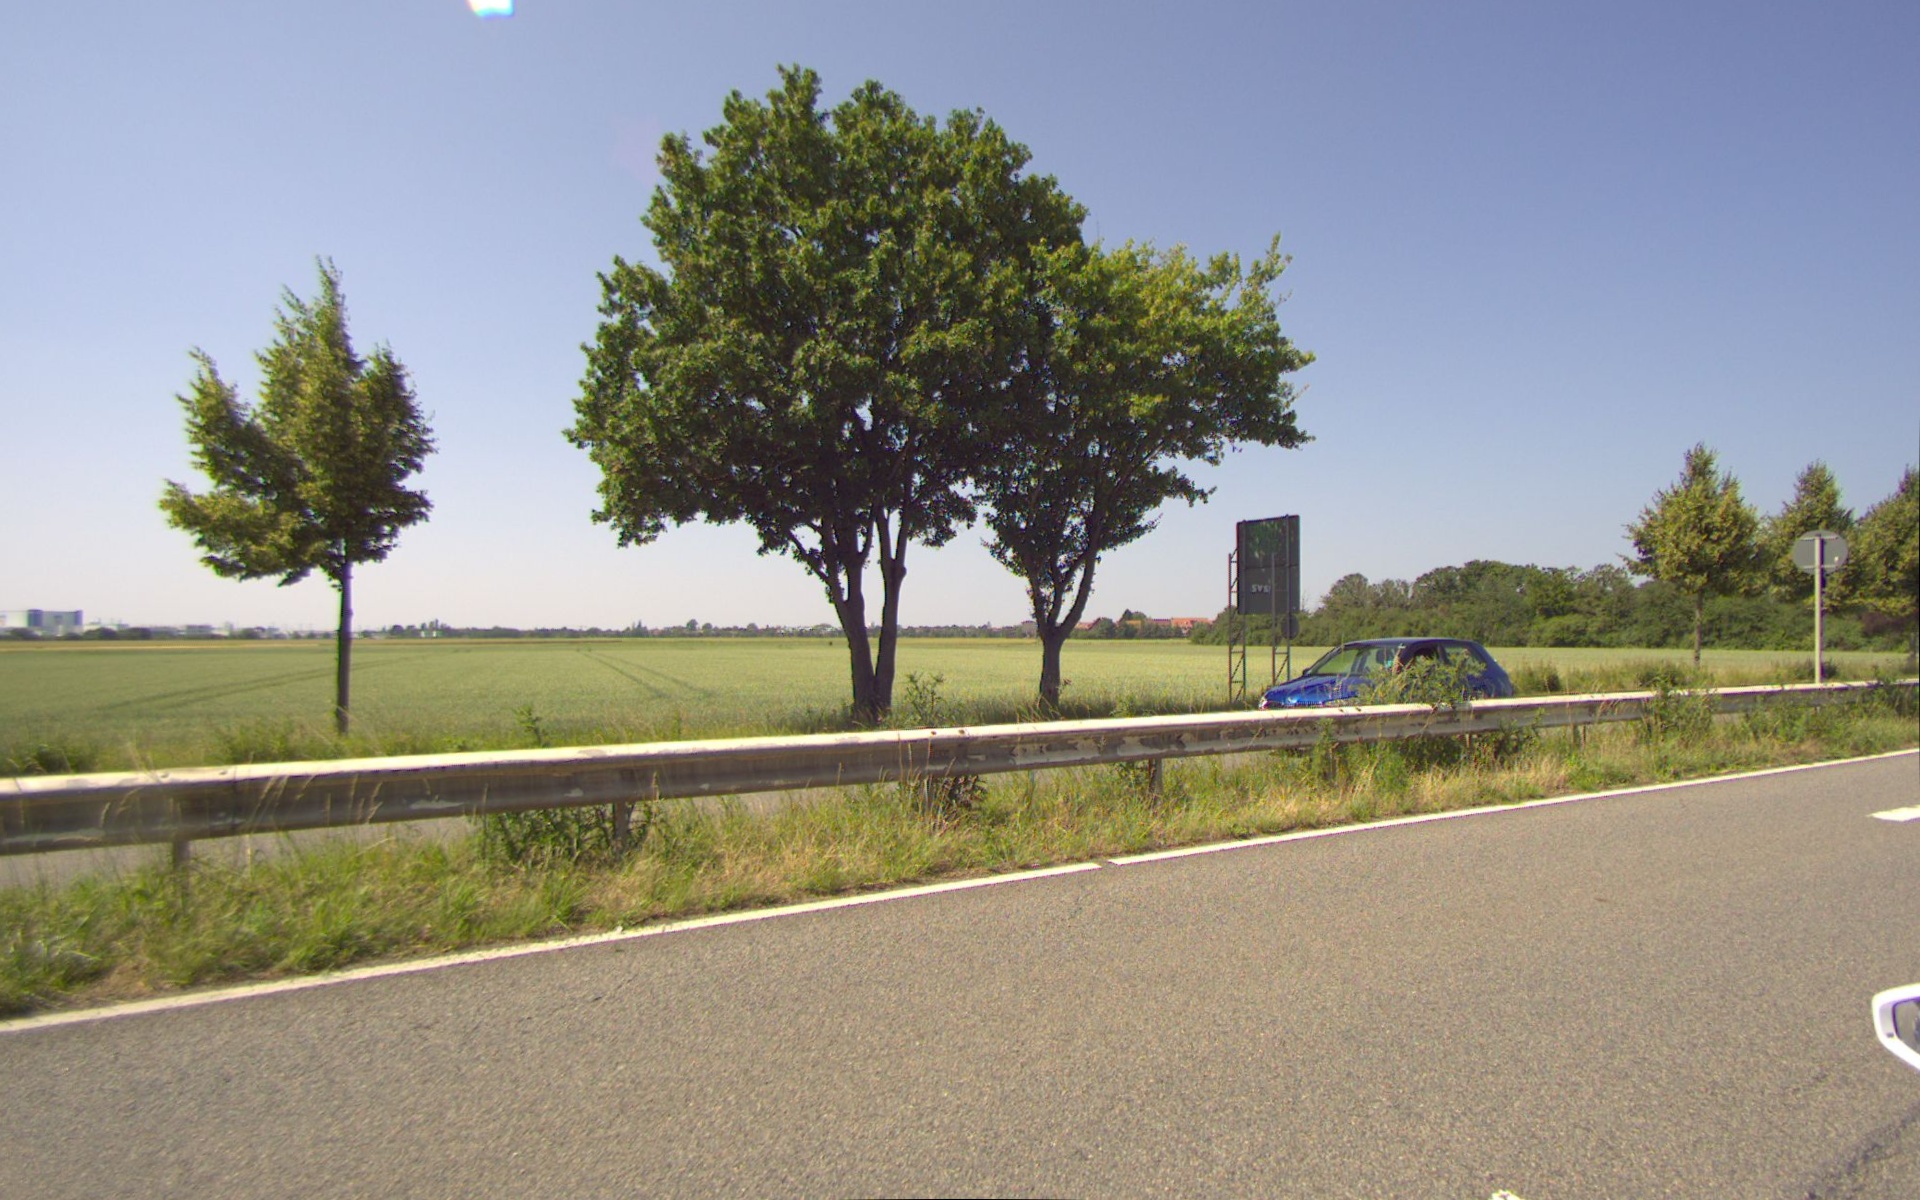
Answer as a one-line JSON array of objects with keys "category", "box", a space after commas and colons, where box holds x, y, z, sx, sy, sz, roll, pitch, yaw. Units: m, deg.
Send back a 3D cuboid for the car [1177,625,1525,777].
[{"category": "car", "box": [5.179, 1.197, 13.179, 4.429, 1.684, 1.984, 1, -2, -31]}]
